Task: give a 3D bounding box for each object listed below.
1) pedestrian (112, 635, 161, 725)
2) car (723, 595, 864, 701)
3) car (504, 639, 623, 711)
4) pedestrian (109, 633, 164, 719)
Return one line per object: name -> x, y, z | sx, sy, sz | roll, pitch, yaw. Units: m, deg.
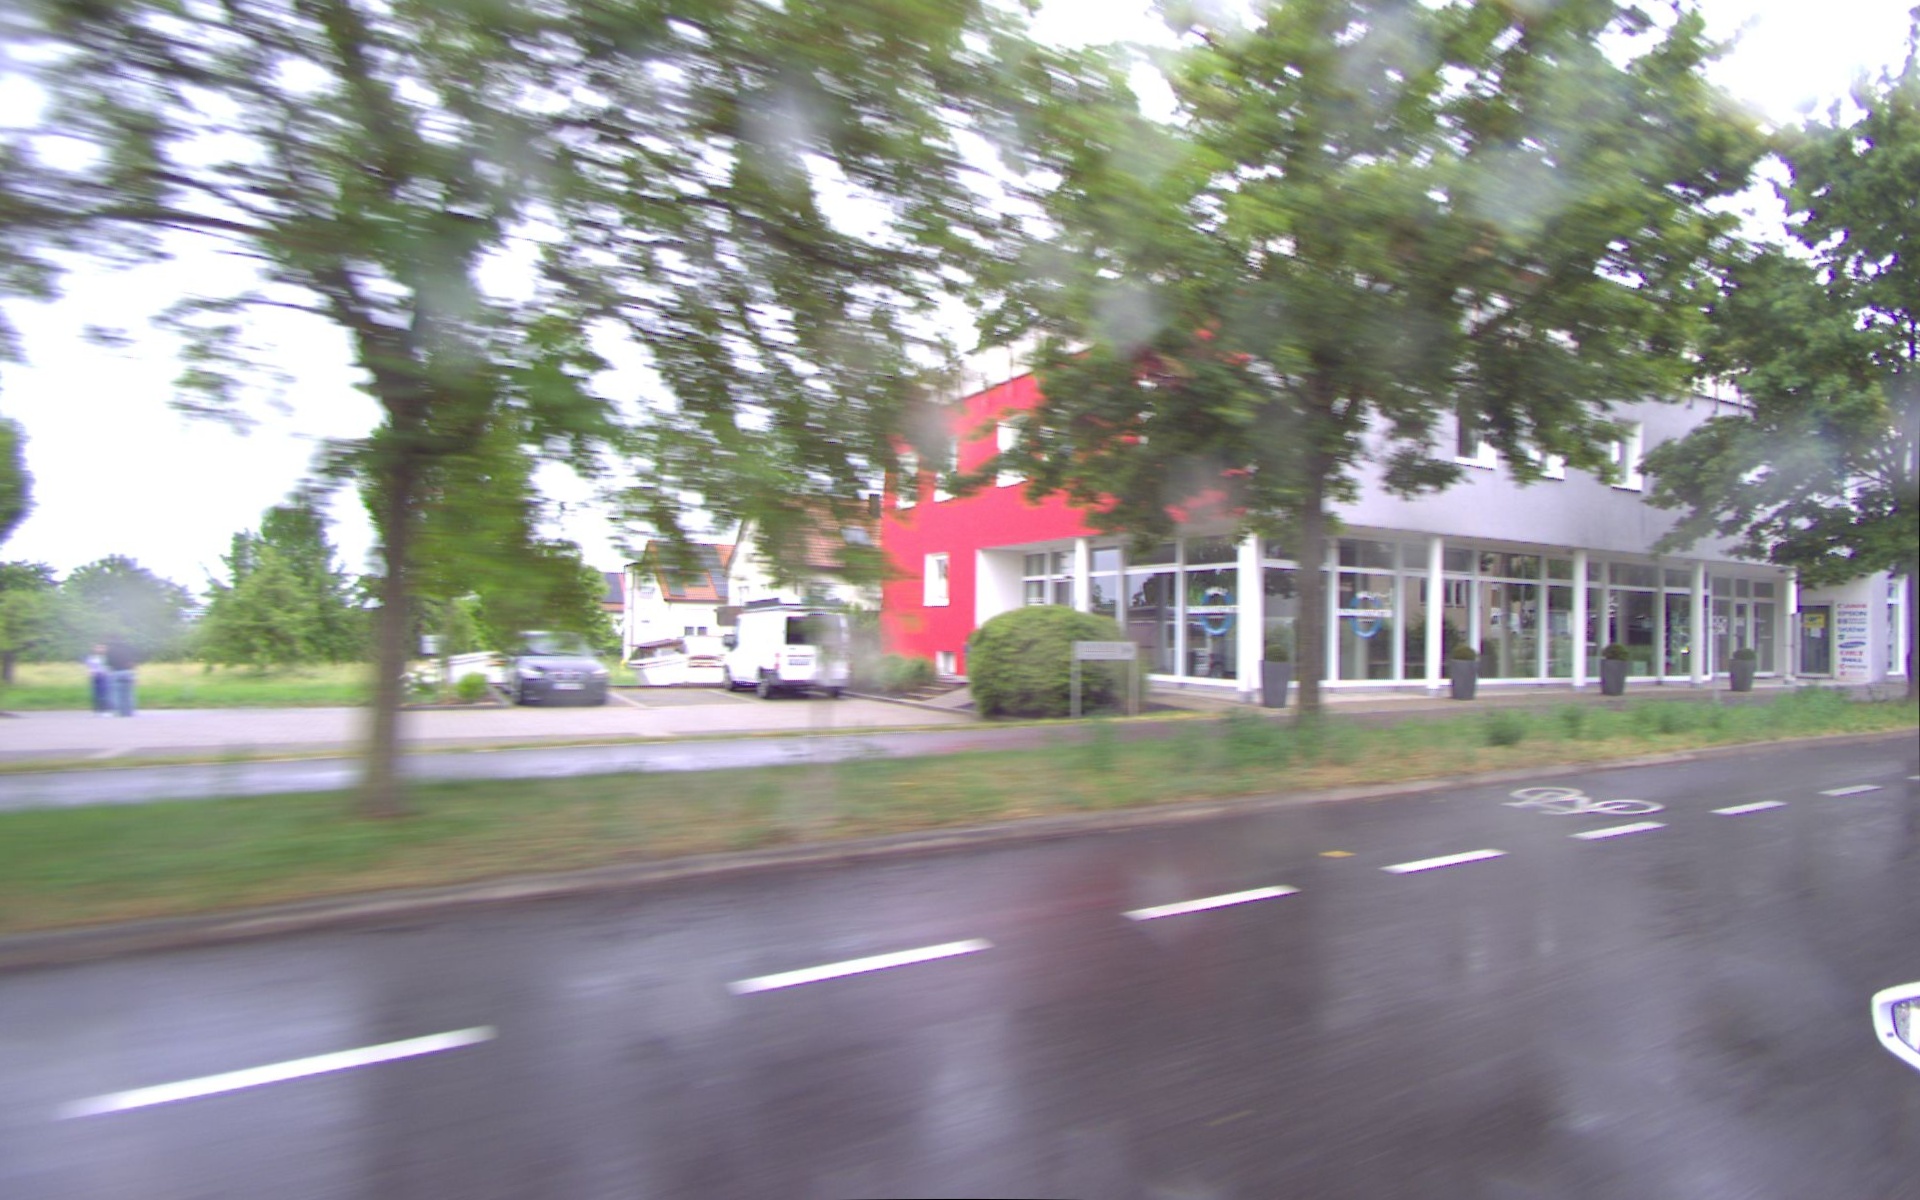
pedestrian -> -17.611, 1.684, 21.489 | 0.759, 1.861, 0.677 | 0, 0, -37
car -> -4.185, 1.068, 24.616 | 2.157, 2.341, 4.460 | 0, 0, -27
car -> -8.471, 1.526, 21.322 | 1.687, 1.261, 3.379 | 1, 0, -34
pedestrian -> -18.351, 1.670, 22.387 | 0.672, 1.861, 0.764 | 1, 0, 29
